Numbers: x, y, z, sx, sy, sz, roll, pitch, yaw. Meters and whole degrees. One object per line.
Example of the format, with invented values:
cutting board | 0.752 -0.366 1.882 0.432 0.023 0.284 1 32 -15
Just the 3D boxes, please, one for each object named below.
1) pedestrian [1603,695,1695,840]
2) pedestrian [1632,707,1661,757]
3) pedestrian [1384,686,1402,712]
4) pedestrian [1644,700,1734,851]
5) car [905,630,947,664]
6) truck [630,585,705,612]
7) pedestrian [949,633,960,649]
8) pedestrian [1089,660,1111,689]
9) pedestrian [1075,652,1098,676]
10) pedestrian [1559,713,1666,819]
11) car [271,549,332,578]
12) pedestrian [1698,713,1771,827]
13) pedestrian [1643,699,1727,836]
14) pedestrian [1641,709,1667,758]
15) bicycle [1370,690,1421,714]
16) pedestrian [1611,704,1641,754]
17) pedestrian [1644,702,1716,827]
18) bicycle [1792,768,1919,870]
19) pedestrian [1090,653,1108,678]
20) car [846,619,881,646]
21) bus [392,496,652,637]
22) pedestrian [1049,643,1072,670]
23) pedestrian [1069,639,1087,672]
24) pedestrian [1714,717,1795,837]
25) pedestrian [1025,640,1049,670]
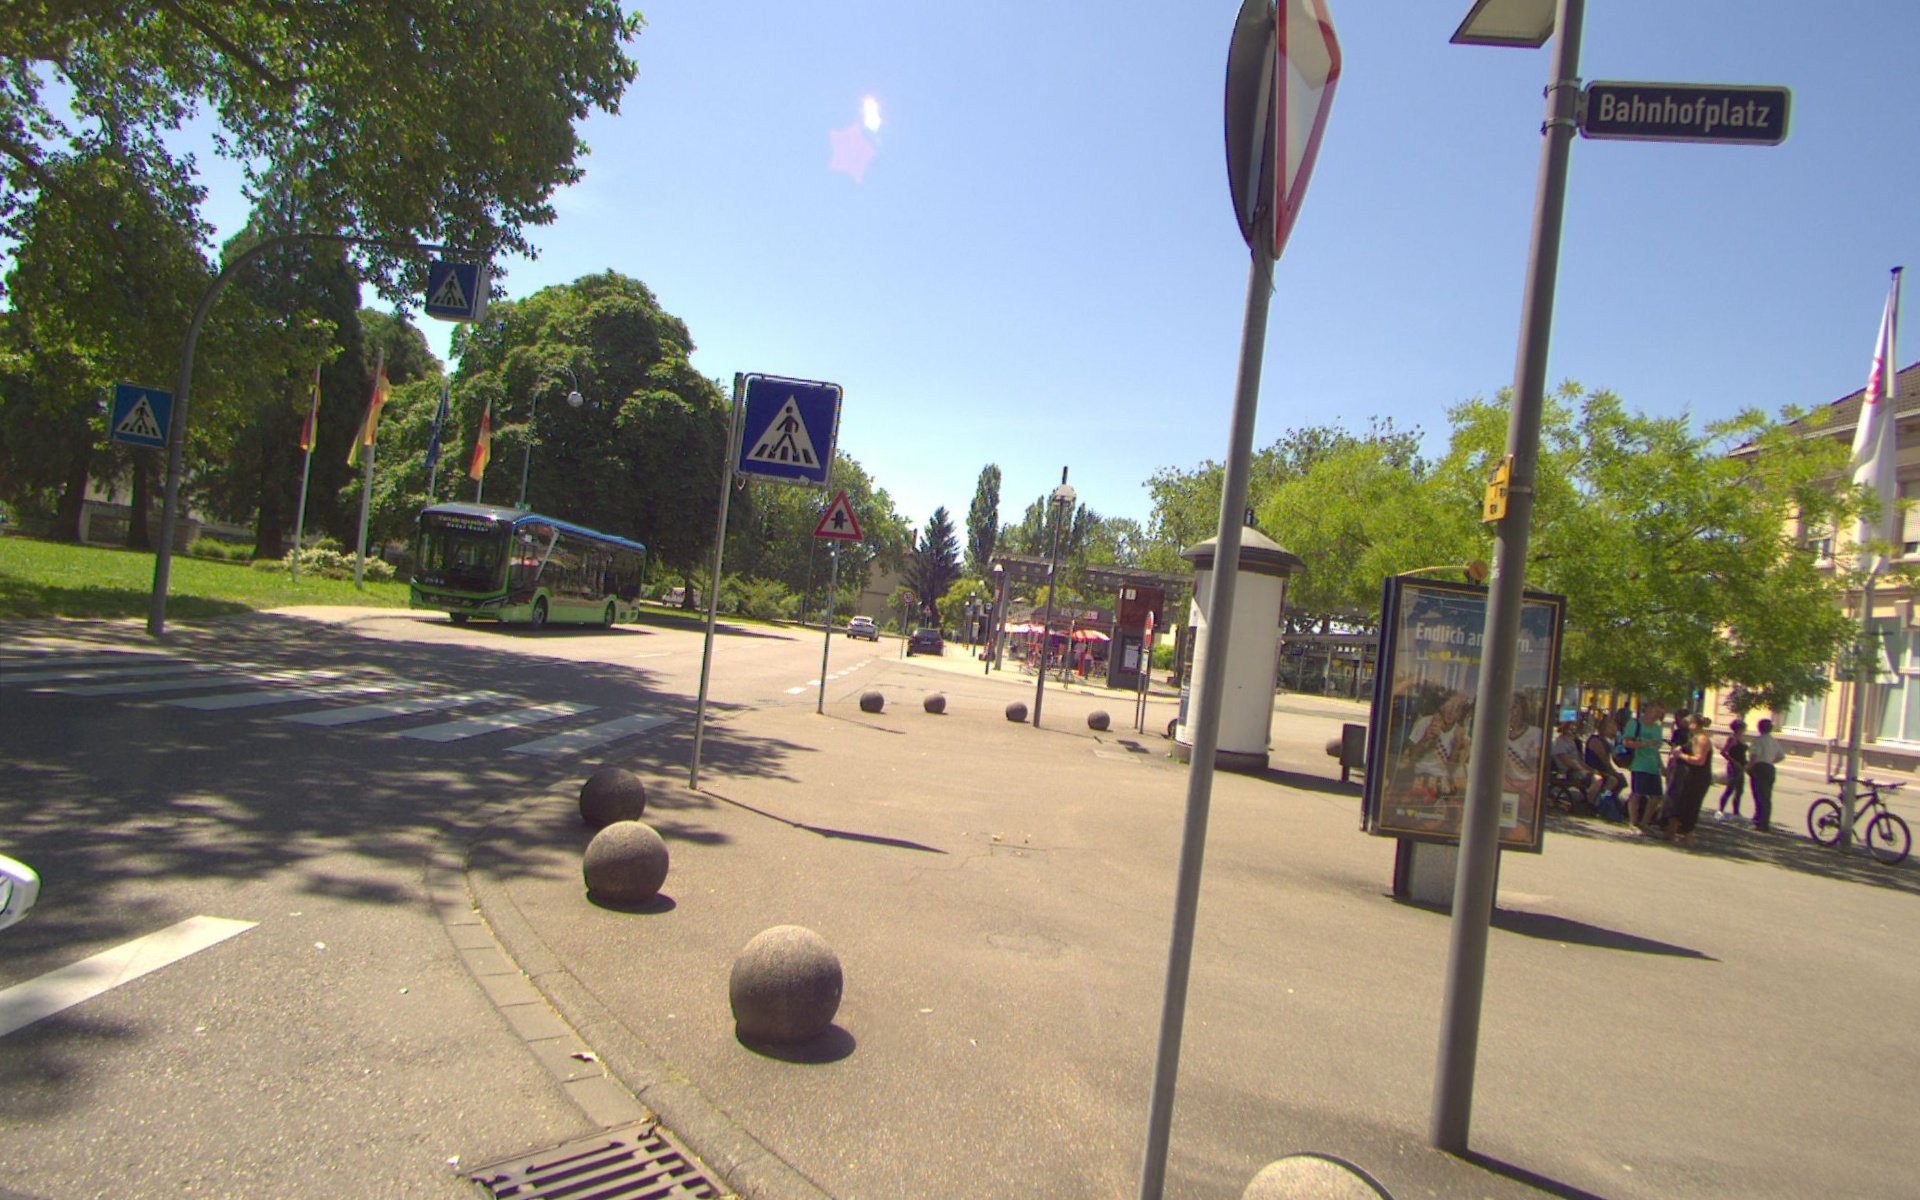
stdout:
pedestrian | 9.036 2.188 13.202 0.685 1.784 0.582 7 -1 -26
pedestrian | 26.342 5.061 38.608 0.620 1.831 0.596 6 -1 20
pedestrian | 24.867 5.688 57.821 0.615 1.411 0.677 5 -2 -1
pedestrian | 9.087 2.182 12.544 0.620 1.760 0.544 7 -1 -26
car | -1.702 2.360 50.857 1.897 1.478 4.727 4 -2 -1
truck | -39.693 -0.245 136.331 11.168 2.376 2.283 6 -2 27
pedestrian | -0.635 4.582 111.642 0.710 1.667 0.751 6 -3 27
pedestrian | 6.735 3.569 48.352 0.832 1.292 0.895 7 -1 4
pedestrian | 6.879 3.487 54.633 0.887 1.174 0.682 8 -1 -35
pedestrian | 9.802 2.485 15.123 0.903 1.402 0.937 7 -1 -30
car | -56.100 -3.083 85.785 1.841 1.770 4.007 9 -3 10
pedestrian | 12.402 2.713 16.122 0.546 1.705 0.586 7 -1 -13
pedestrian | 9.957 2.296 13.817 0.578 1.760 0.596 7 -1 -26
pedestrian | 26.938 5.168 39.053 0.541 1.831 0.498 6 -1 20
bicycle | 27.430 6.416 63.397 2.746 1.015 0.811 9 -2 -3
pedestrian | 25.706 4.978 38.846 0.677 1.831 0.632 6 -1 21
pedestrian | 10.719 2.442 14.982 0.506 1.760 0.567 7 -1 -30
bicycle | 12.537 2.992 13.817 0.414 1.072 1.949 7 -2 -3
pedestrian | 6.986 3.276 50.611 0.675 1.174 0.895 7 -1 4
car | -6.959 2.333 72.792 1.952 1.646 4.780 7 -2 0
bus | -13.249 -0.674 32.299 2.766 3.321 12.429 7 -2 -1
pedestrian | 5.479 3.052 54.717 0.887 1.328 0.682 7 -1 -35
pedestrian | 6.638 3.138 56.604 0.676 1.757 0.708 7 -2 -1
pedestrian | 12.154 2.699 15.403 0.609 1.705 0.590 7 -1 -13
pedestrian | 4.075 2.889 53.105 0.888 1.434 0.681 8 -1 -38
